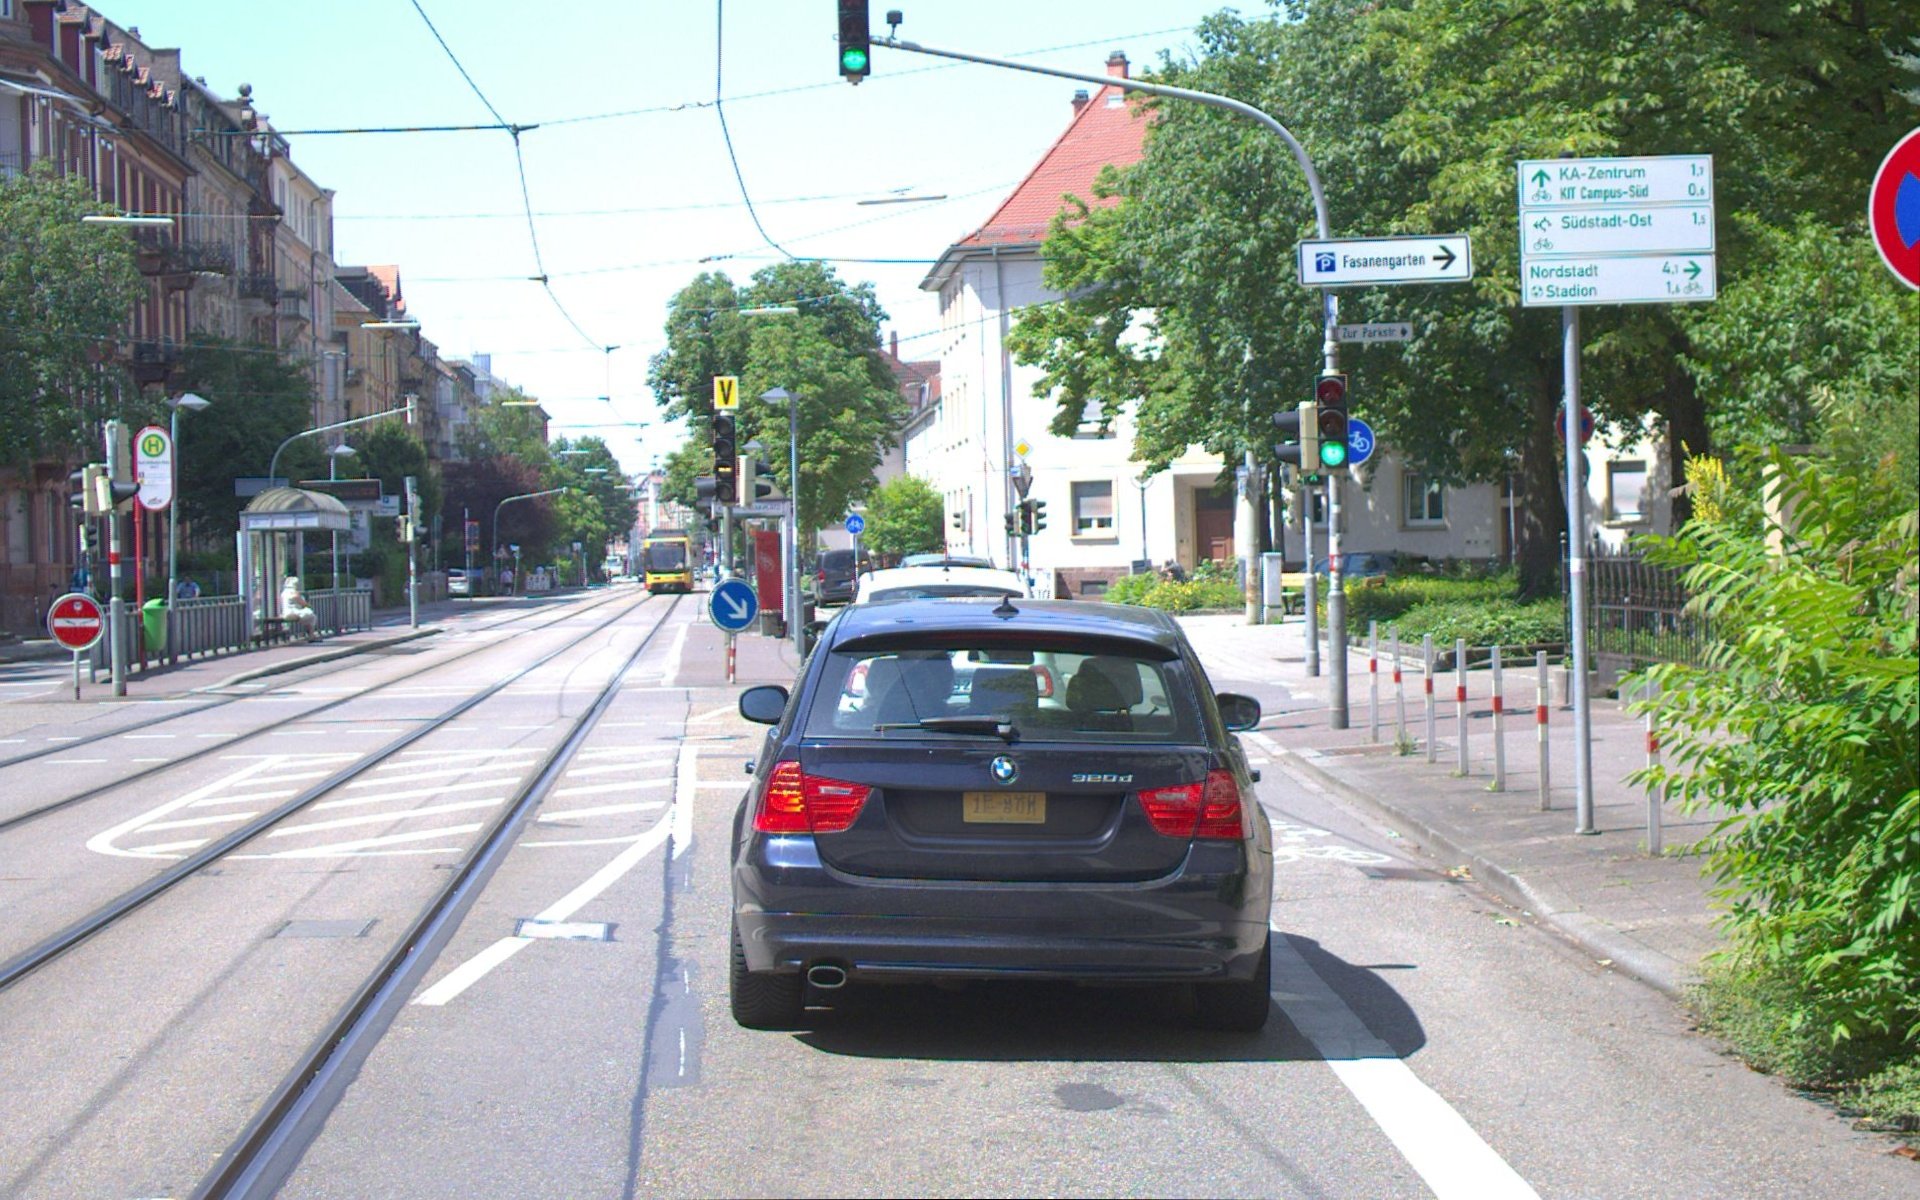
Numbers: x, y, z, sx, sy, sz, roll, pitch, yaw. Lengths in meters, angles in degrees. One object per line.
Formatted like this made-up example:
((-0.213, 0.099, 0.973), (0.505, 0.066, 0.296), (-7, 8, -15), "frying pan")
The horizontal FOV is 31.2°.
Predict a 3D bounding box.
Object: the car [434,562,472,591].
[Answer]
((-27.835, -1.275, 188.677), (1.787, 1.580, 4.001), (0, 0, -13), "car")

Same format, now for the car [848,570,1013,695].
((-0.381, 0.339, 39.566), (1.691, 1.318, 3.822), (-1, 1, -3), "car")

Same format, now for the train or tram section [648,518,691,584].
((-15.779, -2.670, 187.242), (2.190, 3.470, 8.847), (-1, 1, -4), "train or tram section")

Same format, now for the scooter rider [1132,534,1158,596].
((5.062, -0.949, 94.219), (0.590, 1.681, 0.528), (-1, 1, -9), "scooter rider")

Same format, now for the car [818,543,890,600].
((-3.577, -0.964, 115.174), (1.993, 1.842, 4.001), (-1, 1, -8), "car")

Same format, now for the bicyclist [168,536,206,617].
((-18.150, -0.557, 80.737), (0.722, 1.864, 0.825), (-1, 1, -4), "bicyclist")

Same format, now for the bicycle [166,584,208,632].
((-18.146, 0.181, 80.762), (0.728, 1.098, 1.716), (-1, 1, -5), "bicycle")

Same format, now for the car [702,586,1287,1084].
((0.144, 0.693, 12.553), (1.722, 1.404, 4.565), (1, 1, 1), "car")

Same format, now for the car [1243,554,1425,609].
((8.929, -0.445, 82.111), (3.994, 1.239, 1.621), (-1, 1, 31), "car")

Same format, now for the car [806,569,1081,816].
((-0.107, 0.563, 23.313), (1.685, 1.479, 3.685), (-1, 1, 0), "car")

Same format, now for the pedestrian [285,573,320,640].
((-12.392, 0.113, 64.781), (0.613, 1.238, 0.628), (-1, 1, -10), "pedestrian")

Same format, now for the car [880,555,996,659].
((-0.368, 0.077, 52.554), (1.691, 1.508, 3.821), (-1, 1, -1), "car")
